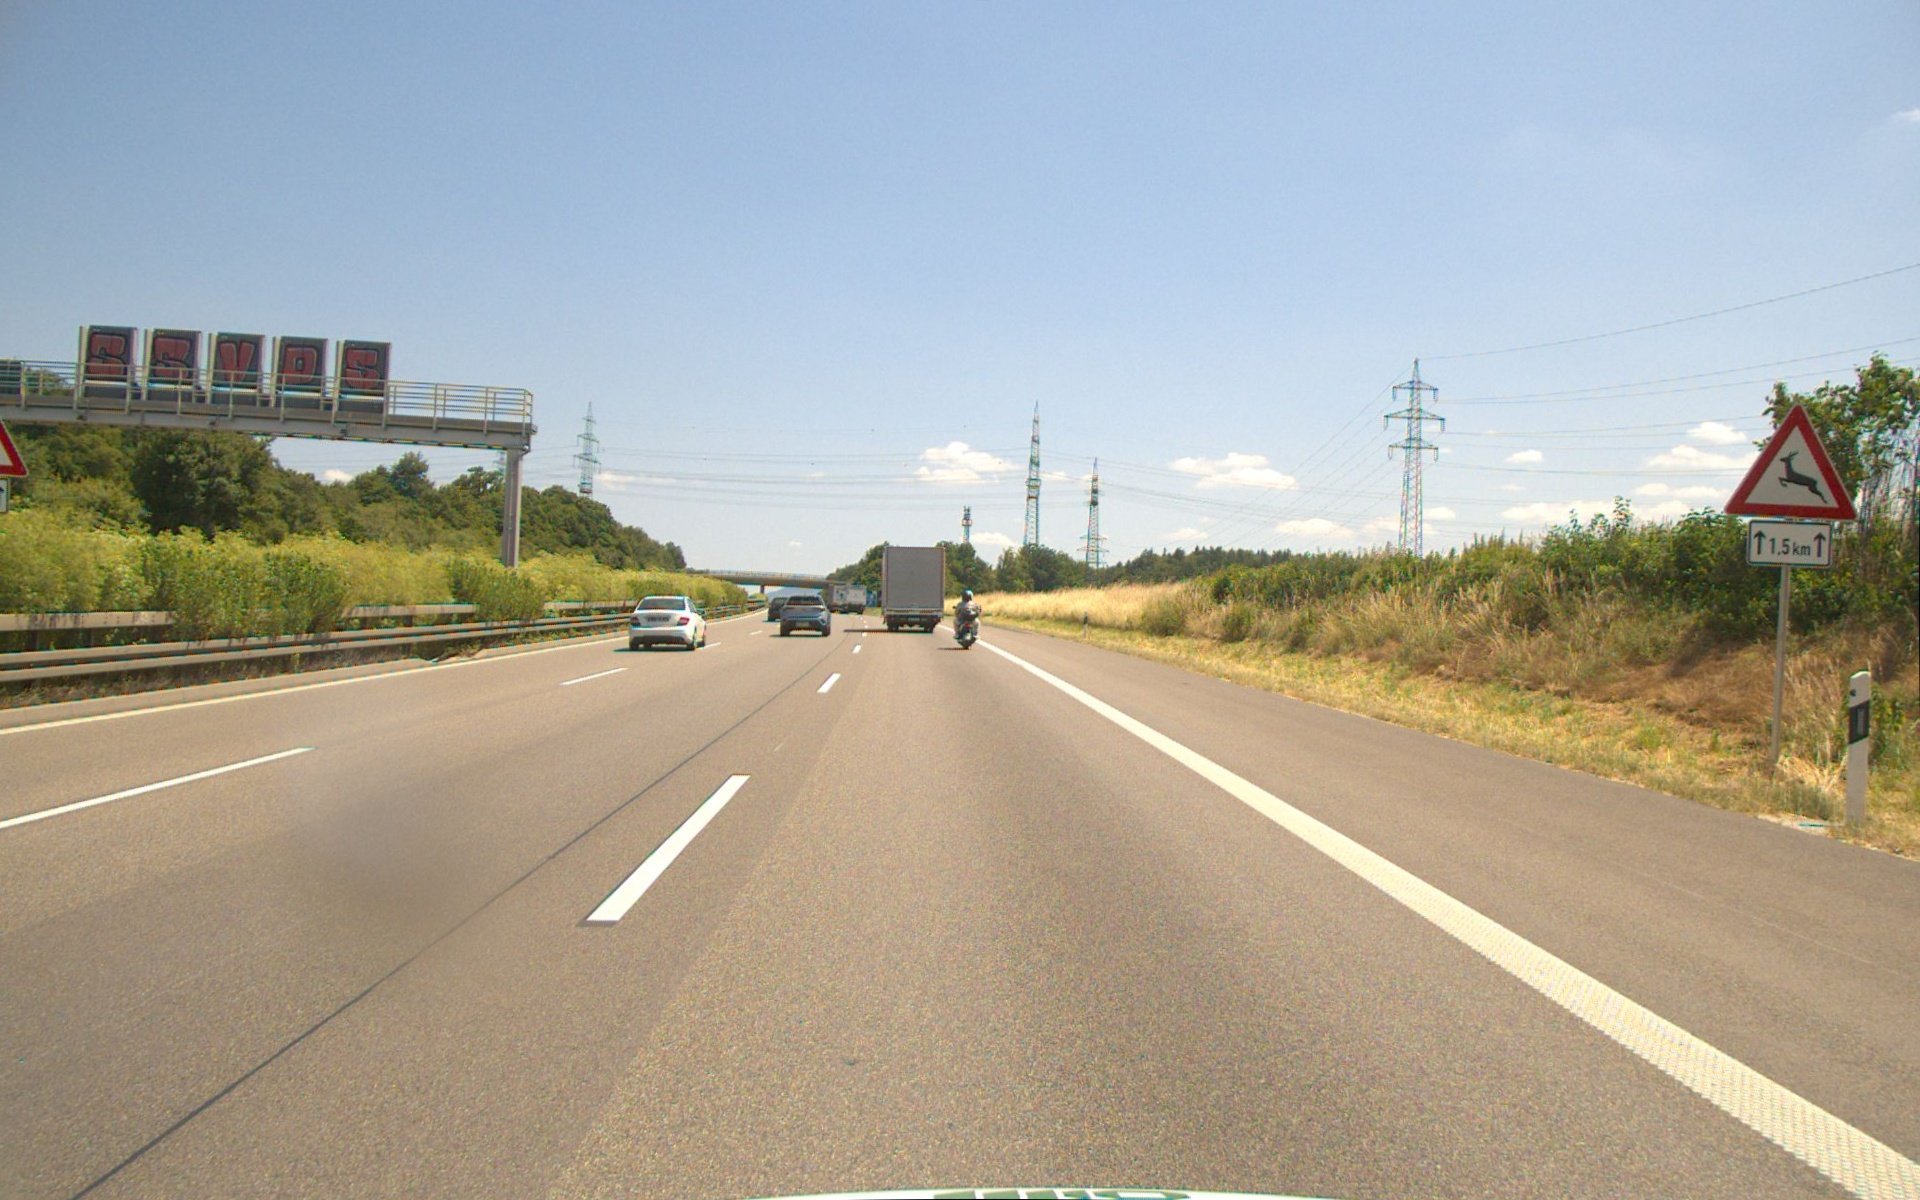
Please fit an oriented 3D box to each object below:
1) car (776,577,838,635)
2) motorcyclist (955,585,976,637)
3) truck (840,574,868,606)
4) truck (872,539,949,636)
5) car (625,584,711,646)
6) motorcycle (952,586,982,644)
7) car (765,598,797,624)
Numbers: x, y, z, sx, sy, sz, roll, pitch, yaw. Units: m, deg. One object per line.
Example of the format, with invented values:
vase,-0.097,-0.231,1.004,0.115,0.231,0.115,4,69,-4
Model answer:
car,-5.595,0.194,60.827,1.953,2.049,4.000,0,1,-1
motorcyclist,0.151,0.312,47.617,0.560,1.505,0.700,0,1,-2
truck,-13.507,-1.210,210.741,3.416,3.981,7.282,0,0,-5
truck,-2.189,-0.539,72.860,3.156,3.993,9.057,0,0,-2
car,-7.835,0.377,44.676,1.783,1.567,3.913,0,1,-3
motorcycle,0.182,0.432,47.685,0.793,1.635,1.781,0,0,-2
car,-10.474,0.618,96.754,1.722,1.454,3.997,0,1,-4
